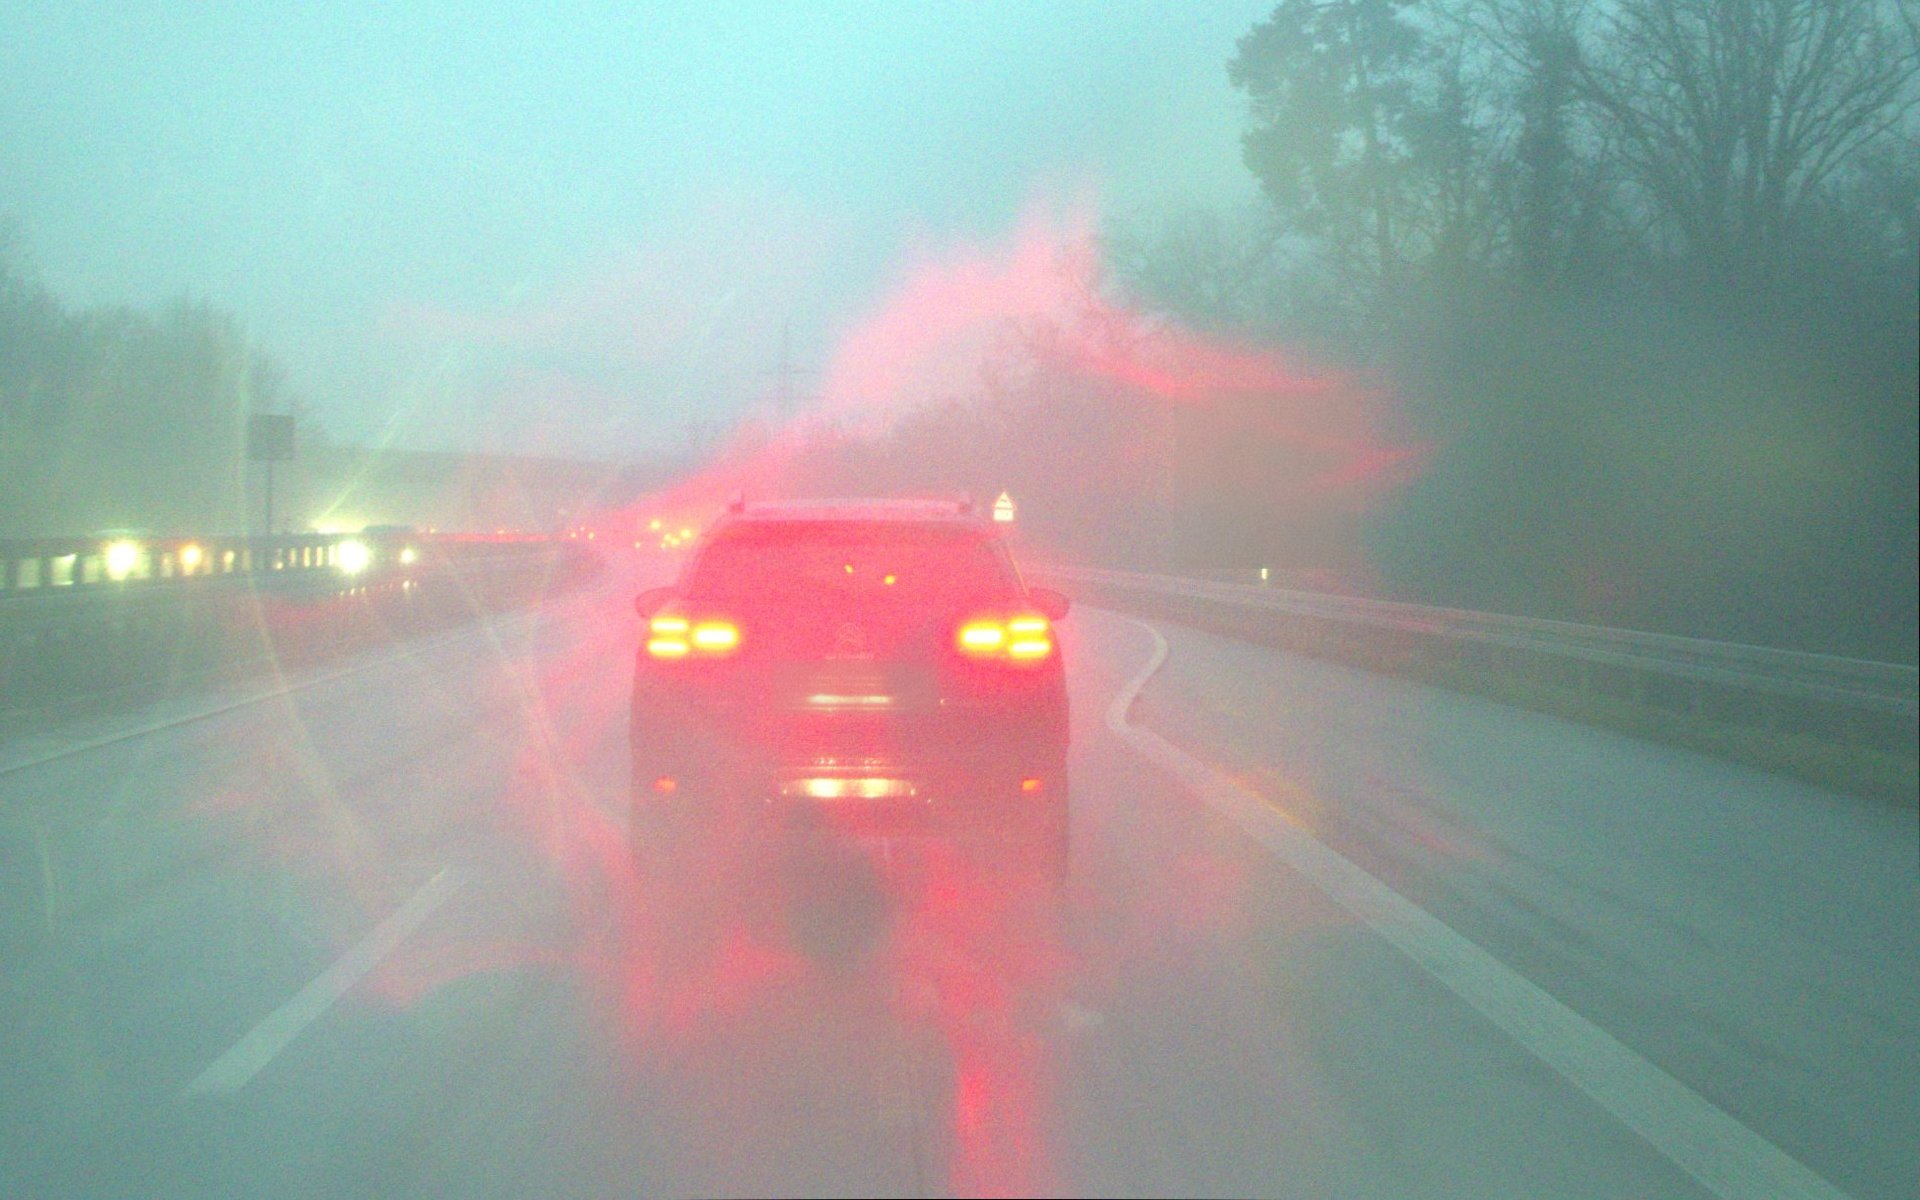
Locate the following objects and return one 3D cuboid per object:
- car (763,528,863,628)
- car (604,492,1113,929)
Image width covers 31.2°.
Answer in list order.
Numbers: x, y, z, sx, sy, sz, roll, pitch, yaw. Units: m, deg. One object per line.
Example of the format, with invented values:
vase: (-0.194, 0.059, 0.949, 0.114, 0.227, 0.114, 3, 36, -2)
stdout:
car: (-3.046, -0.477, 71.796, 1.993, 2.007, 4.000, 1, 1, -1)
car: (-0.483, 0.406, 15.500, 1.992, 1.709, 3.830, 1, 1, -2)
